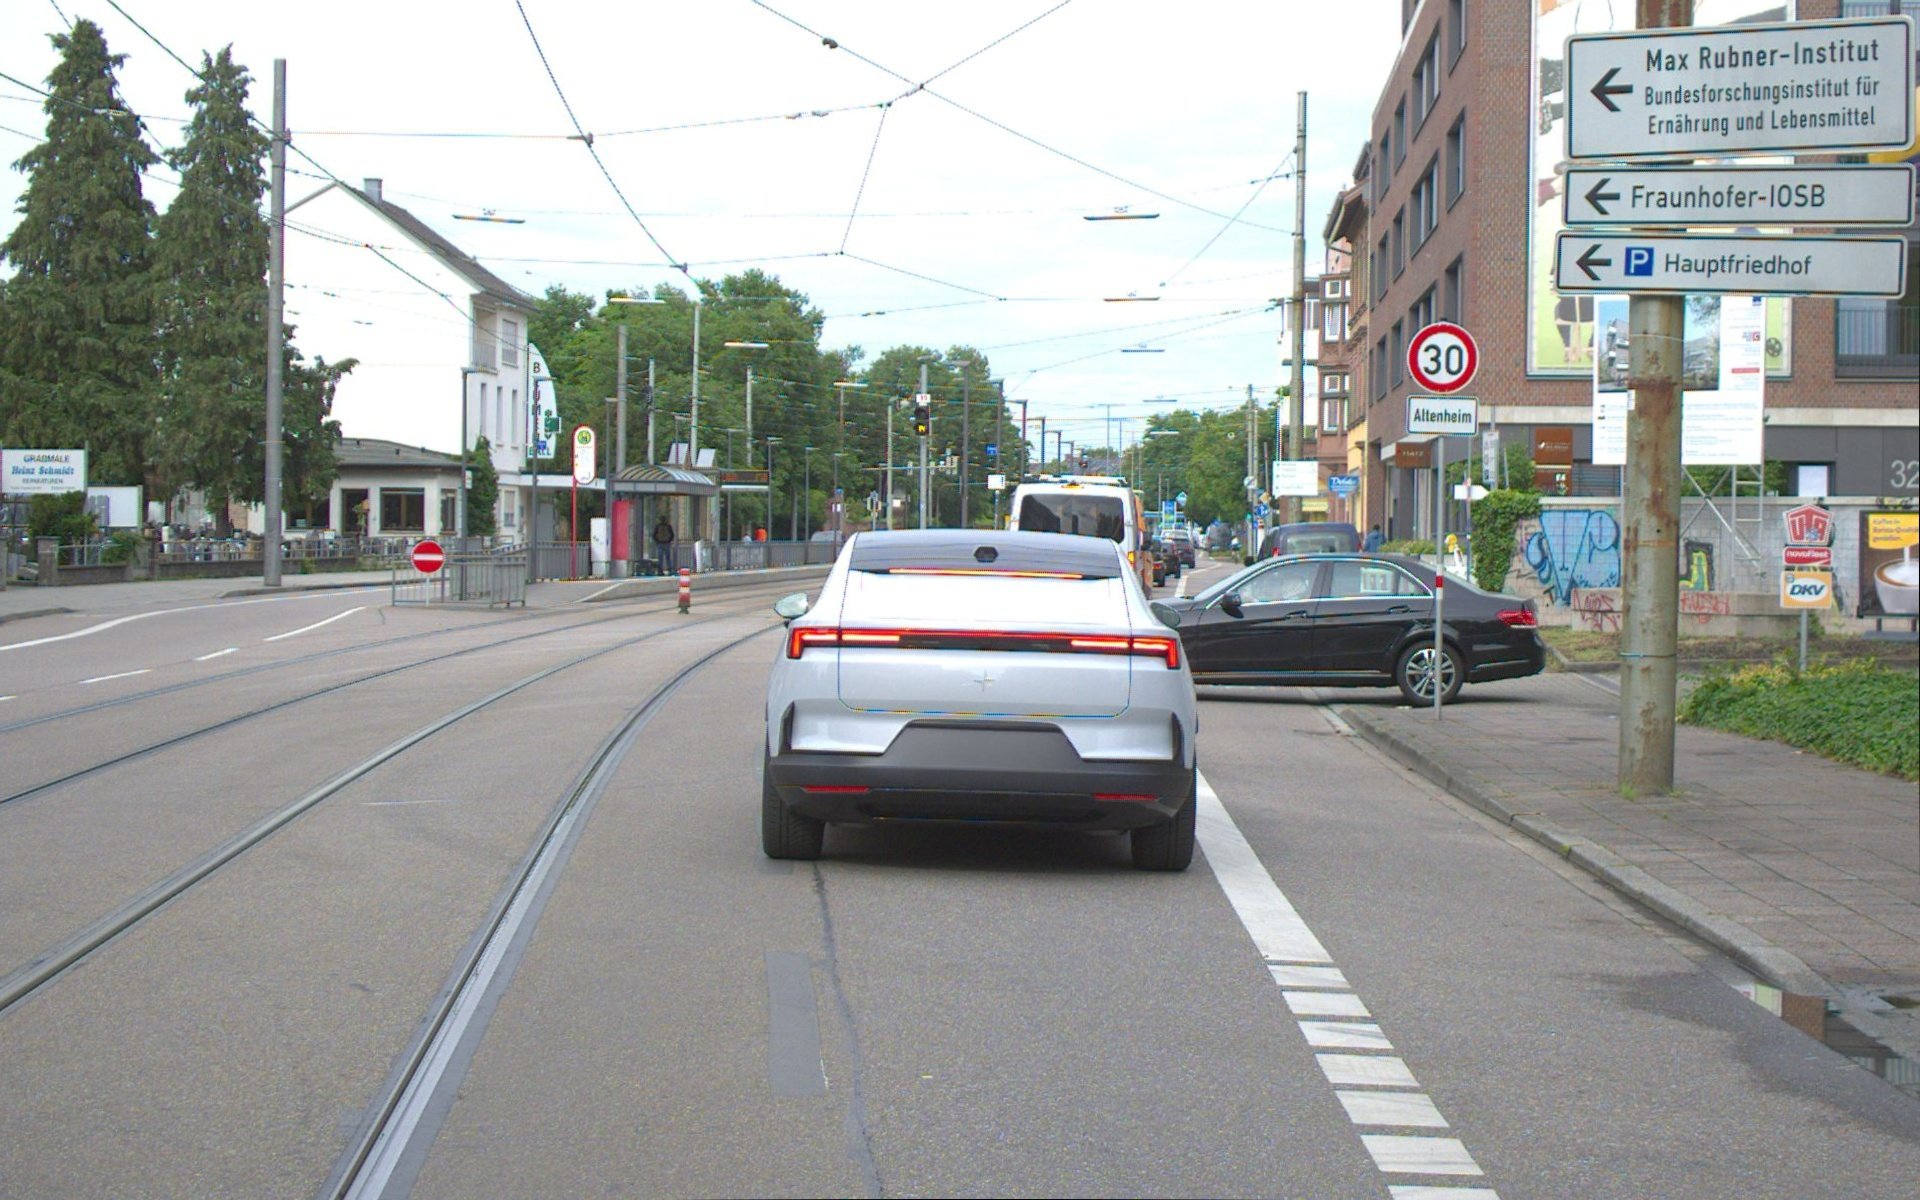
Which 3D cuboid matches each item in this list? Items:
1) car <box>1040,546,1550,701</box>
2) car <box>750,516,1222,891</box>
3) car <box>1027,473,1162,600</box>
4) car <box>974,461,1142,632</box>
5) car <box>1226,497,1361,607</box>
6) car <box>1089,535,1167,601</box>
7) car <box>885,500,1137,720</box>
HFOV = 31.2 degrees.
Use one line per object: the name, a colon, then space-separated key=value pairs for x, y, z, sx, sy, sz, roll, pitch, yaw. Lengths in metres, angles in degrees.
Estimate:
car: x=3.336 y=0.203 z=34.063 sx=4.872 sy=1.422 sz=1.952 roll=1 pitch=1 yaw=8
car: x=-0.013 y=0.408 z=16.886 sx=1.981 sy=1.544 sz=4.184 roll=2 pitch=1 yaw=-4
car: x=2.377 y=-1.120 z=62.133 sx=2.139 sy=2.138 sz=4.744 roll=2 pitch=0 yaw=0
car: x=1.442 y=-0.797 z=52.506 sx=2.216 sy=2.415 sz=4.952 roll=2 pitch=0 yaw=-1
car: x=5.870 y=-0.839 z=60.873 sx=1.874 sy=1.817 sz=4.096 roll=2 pitch=0 yaw=-1
car: x=5.347 y=-1.024 z=109.843 sx=1.993 sy=2.007 sz=4.001 roll=2 pitch=0 yaw=-4
car: x=0.384 y=0.065 z=30.412 sx=1.968 sy=1.750 sz=3.838 roll=2 pitch=0 yaw=-2
